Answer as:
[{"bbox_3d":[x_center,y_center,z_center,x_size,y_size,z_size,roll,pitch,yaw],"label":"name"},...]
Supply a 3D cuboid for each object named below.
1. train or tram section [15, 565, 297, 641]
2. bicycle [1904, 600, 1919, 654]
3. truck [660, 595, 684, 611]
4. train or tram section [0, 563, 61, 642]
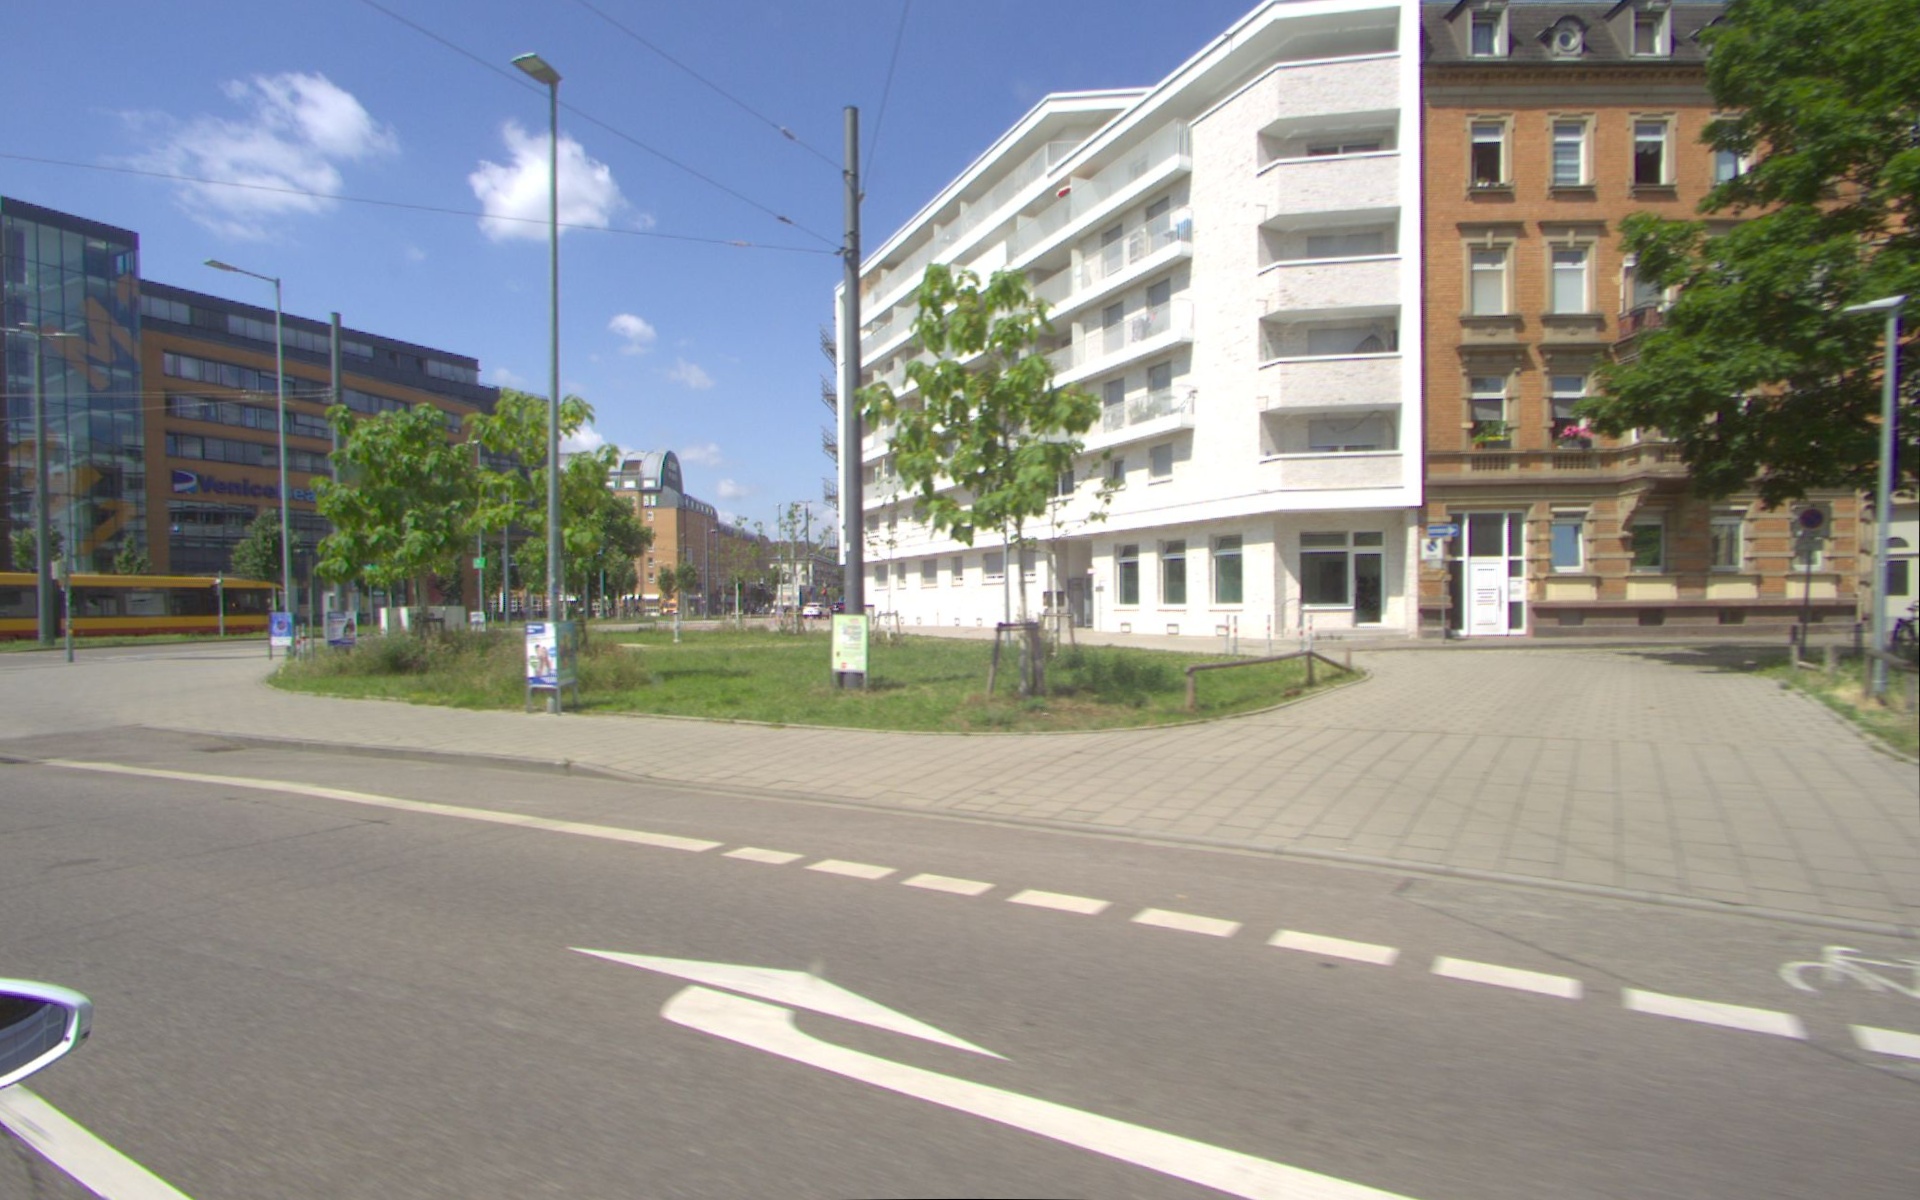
[{"bbox_3d":[-43.522,0.274,55.154,3.010,3.668,12.619,0,-1,17],"label":"train or tram section"},{"bbox_3d":[18.465,0.509,19.078,0.537,0.982,2.373,0,-1,40],"label":"bicycle"},{"bbox_3d":[-38.562,0.459,134.137,1.961,2.113,5.523,0,-1,-4],"label":"truck"},{"bbox_3d":[-46.450,0.061,43.677,3.008,3.650,10.984,0,-1,14],"label":"train or tram section"}]
